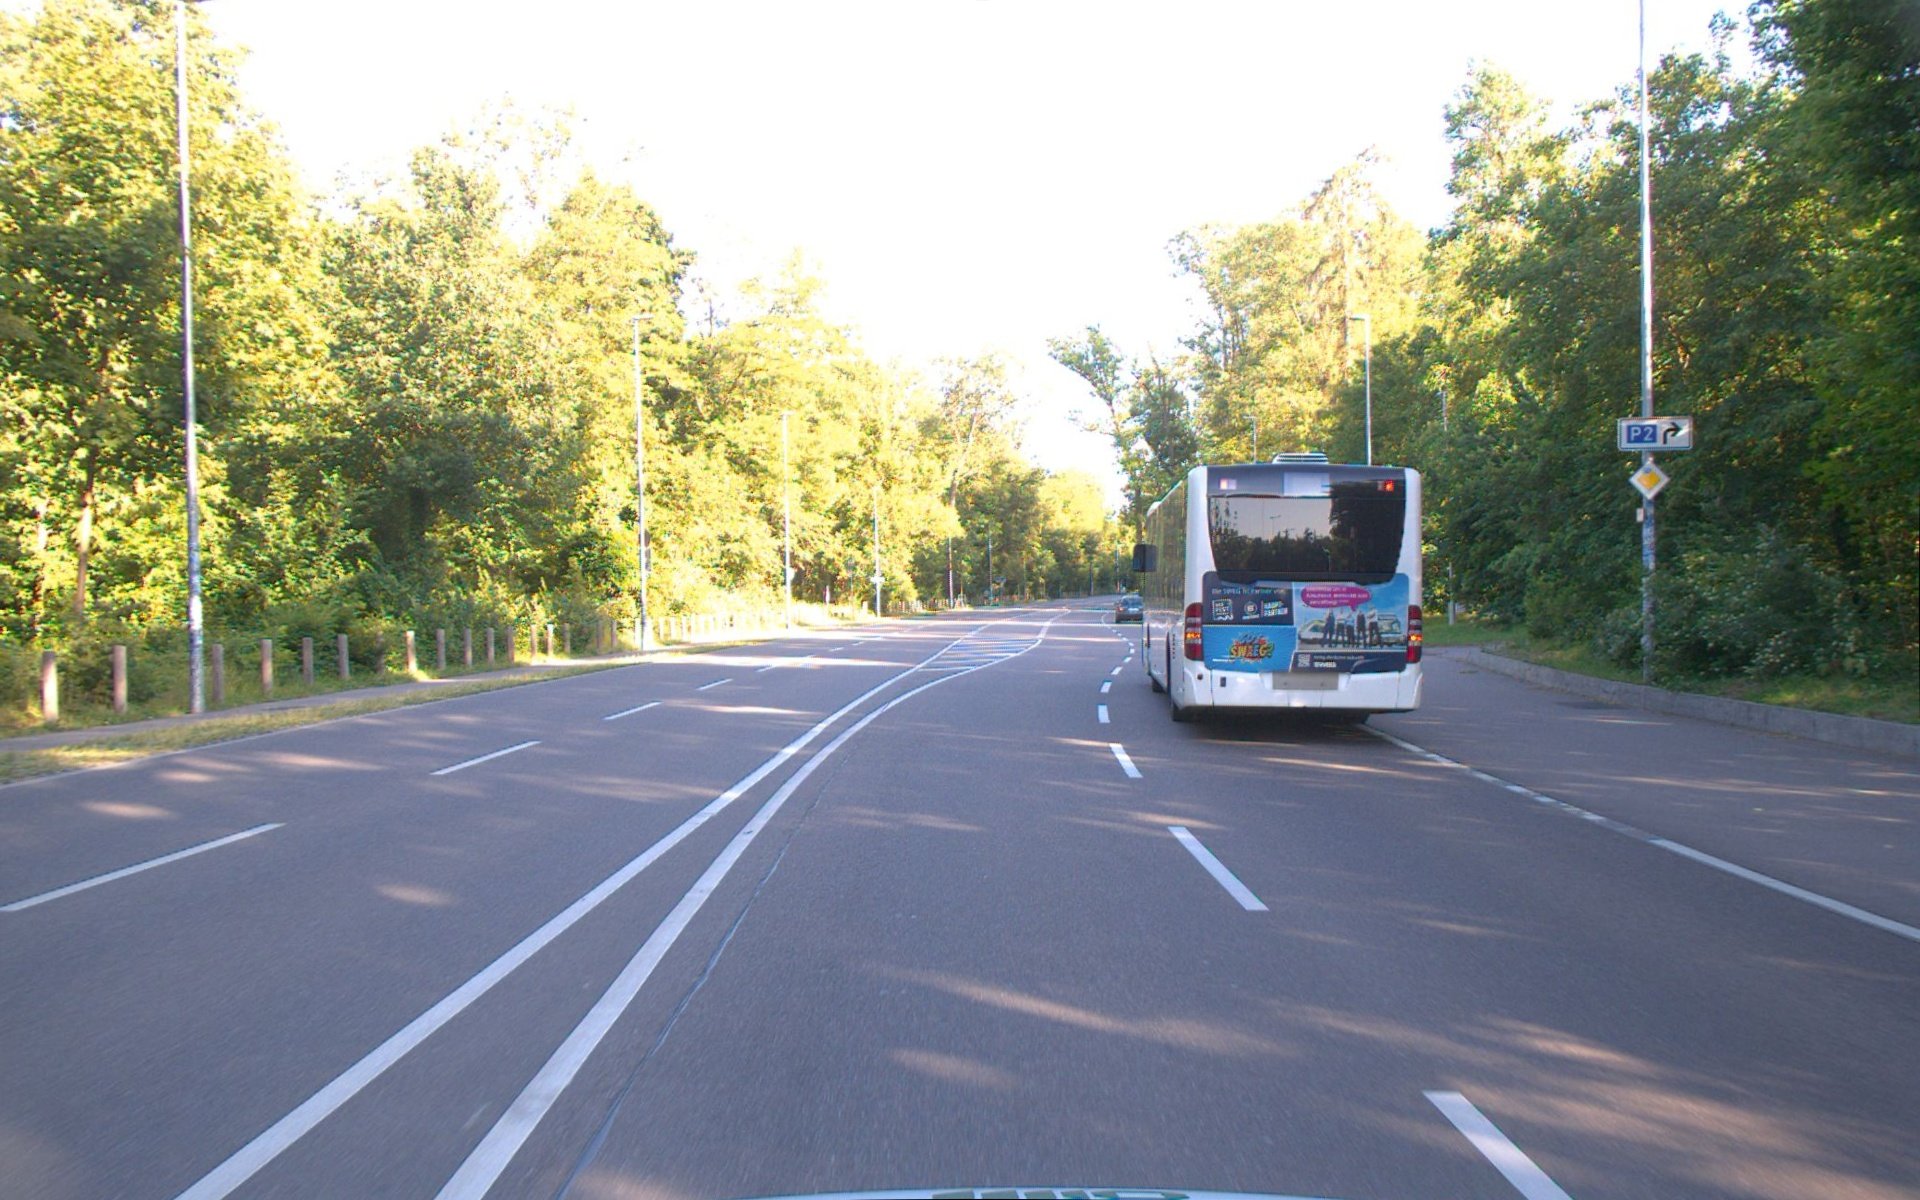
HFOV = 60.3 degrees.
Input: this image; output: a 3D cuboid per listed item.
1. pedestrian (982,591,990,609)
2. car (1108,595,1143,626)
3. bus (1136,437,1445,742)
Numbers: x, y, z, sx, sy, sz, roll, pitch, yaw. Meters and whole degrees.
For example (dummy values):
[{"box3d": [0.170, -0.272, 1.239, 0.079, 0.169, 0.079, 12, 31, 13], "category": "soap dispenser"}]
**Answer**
[{"box3d": [2.667, 0.015, 172.638, 0.763, 1.844, 0.770, 0, 0, 5], "category": "pedestrian"}, {"box3d": [8.647, 0.560, 86.413, 1.597, 1.574, 4.135, 0, 0, 9], "category": "car"}, {"box3d": [4.004, -0.080, 22.871, 2.633, 3.096, 12.046, 0, 0, 4], "category": "bus"}]
